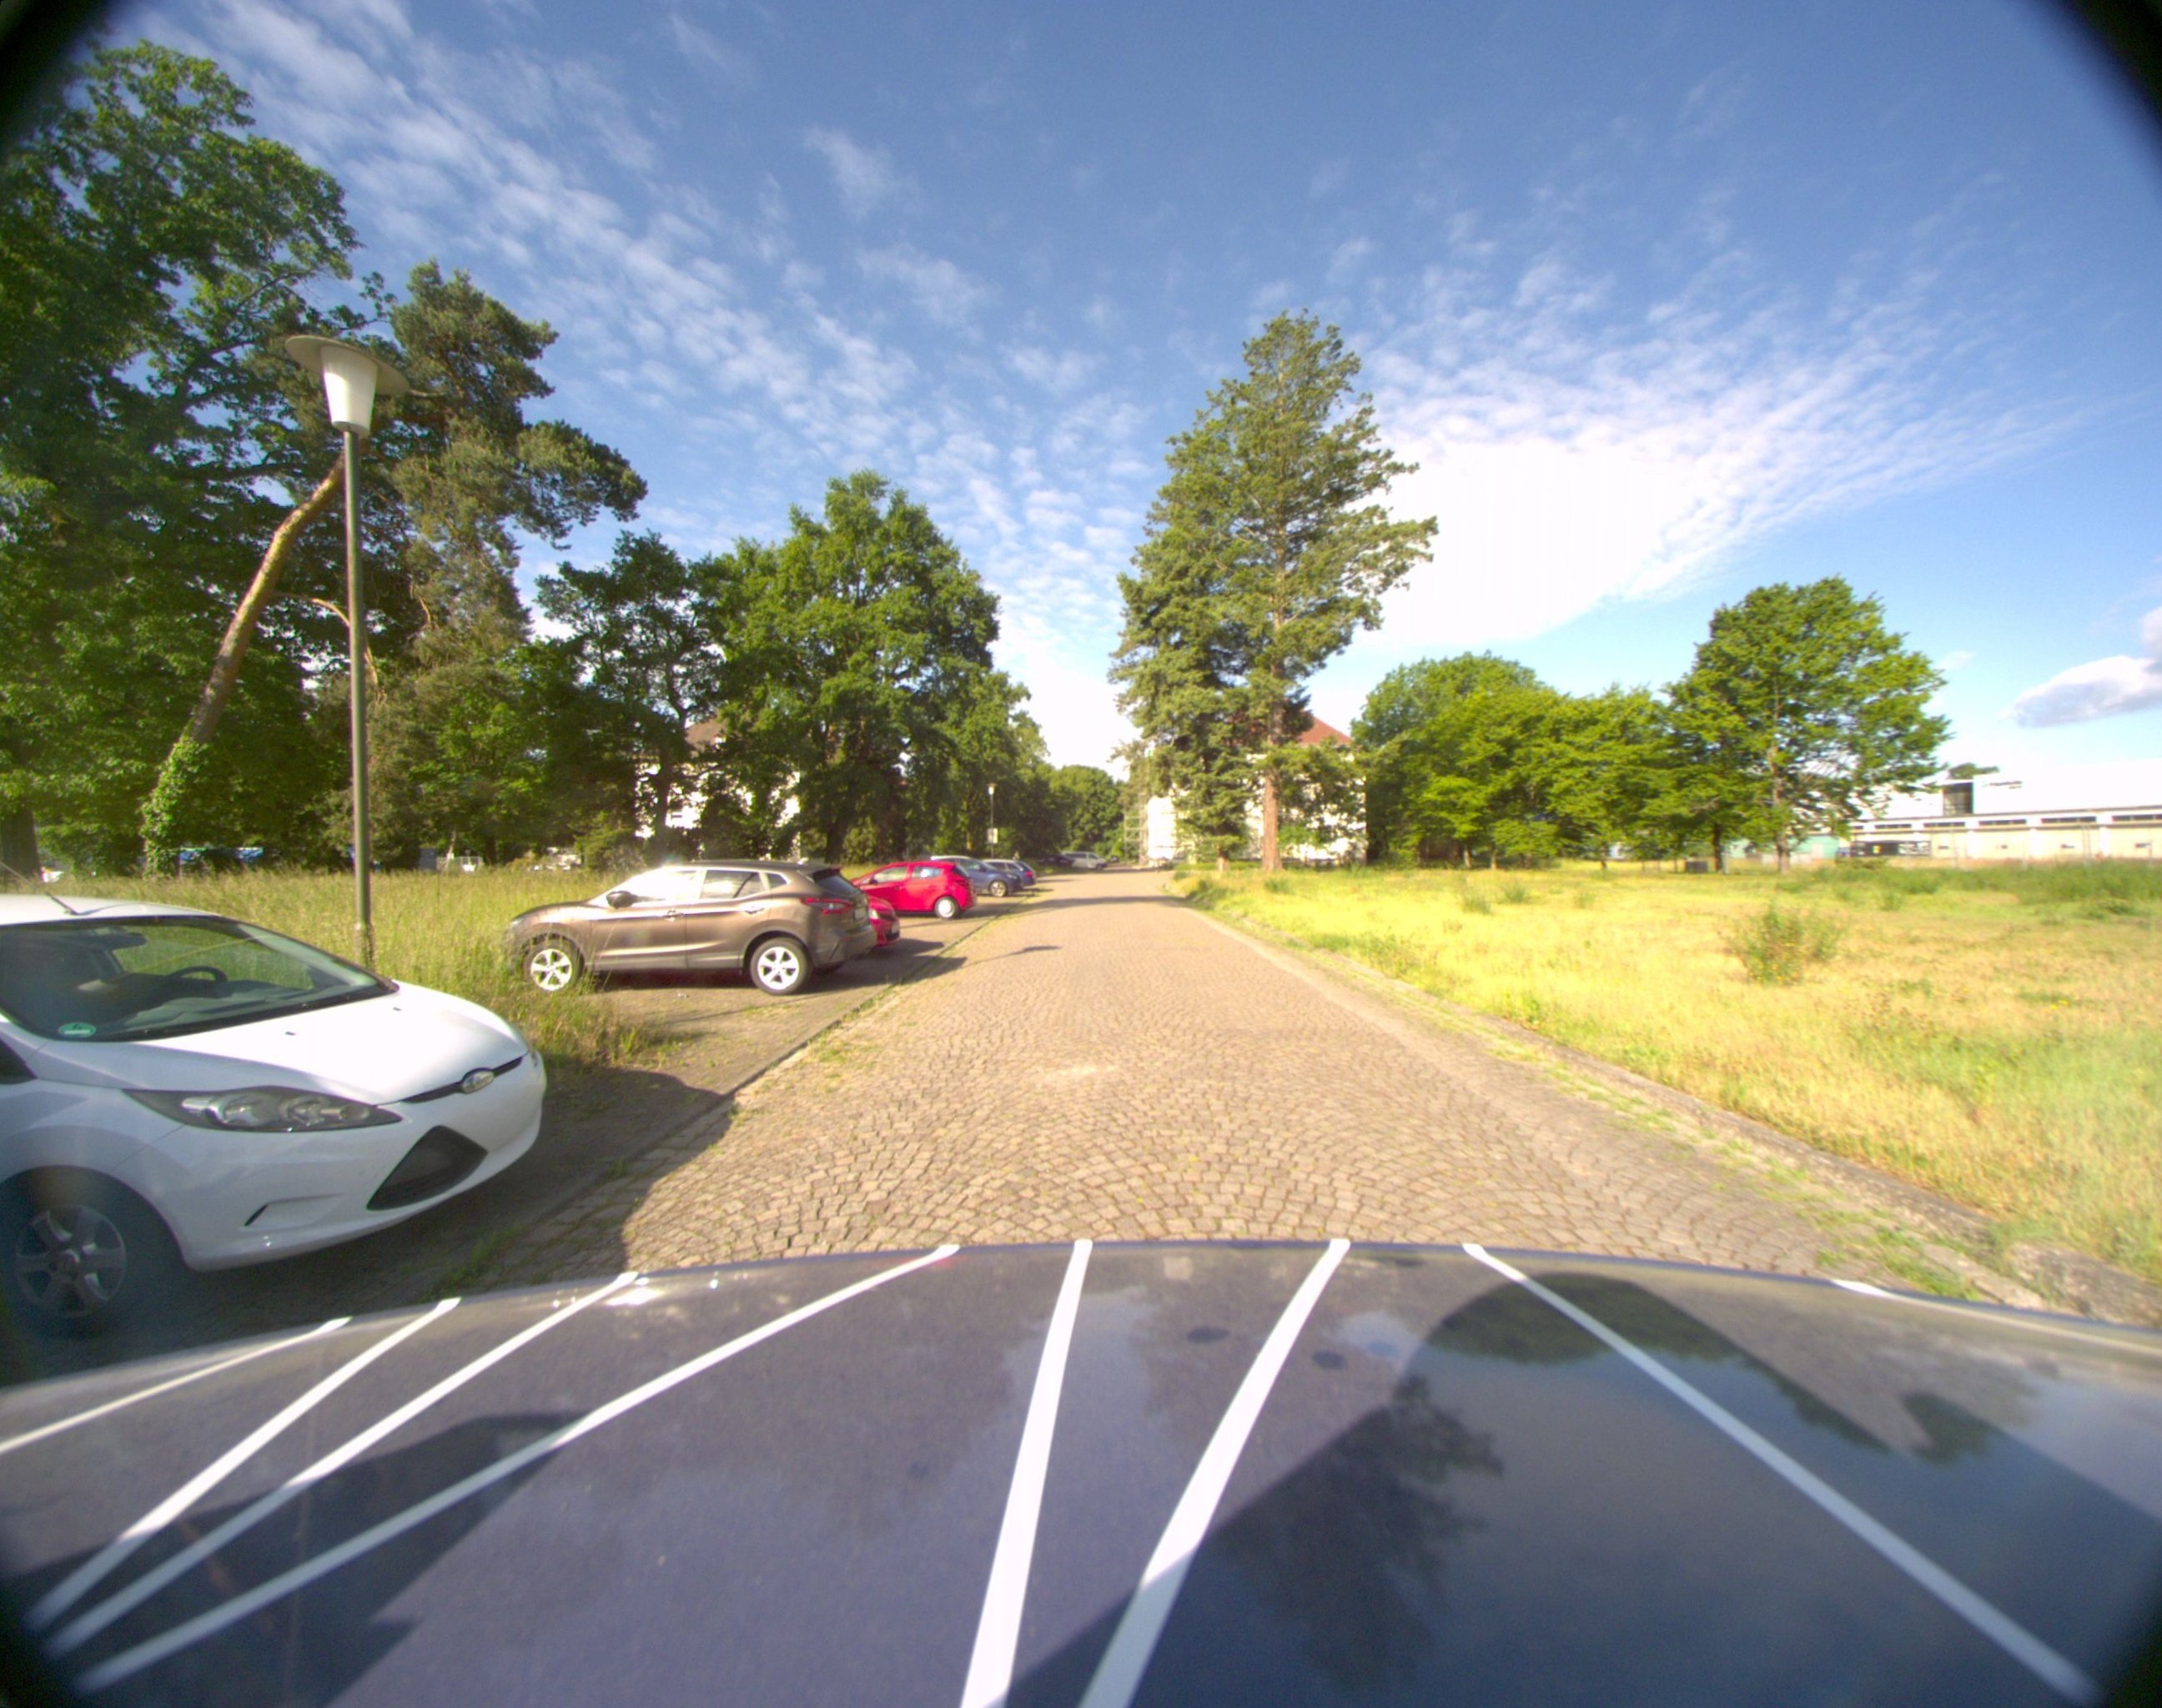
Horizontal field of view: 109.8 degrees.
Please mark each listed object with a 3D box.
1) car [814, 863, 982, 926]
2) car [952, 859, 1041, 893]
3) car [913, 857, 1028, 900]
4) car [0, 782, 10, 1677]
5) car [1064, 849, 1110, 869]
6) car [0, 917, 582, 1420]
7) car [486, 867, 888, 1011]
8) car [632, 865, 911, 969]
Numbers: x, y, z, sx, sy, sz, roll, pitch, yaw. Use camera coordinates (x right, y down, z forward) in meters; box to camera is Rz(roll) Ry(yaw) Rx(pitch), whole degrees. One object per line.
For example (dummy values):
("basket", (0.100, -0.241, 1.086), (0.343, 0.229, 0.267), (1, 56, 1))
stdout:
("car", (-4.699, 1.027, 19.883), (3.997, 1.486, 1.540), (-1, 0, 0))
("car", (-3.818, 0.980, 34.893), (3.809, 1.458, 1.747), (-1, 0, 2))
("car", (-4.322, 0.960, 30.144), (4.273, 1.589, 1.651), (1, 0, 0))
("car", (-4.807, 0.788, 0.748), (4.765, 2.002, 2.000), (1, 0, 1))
("car", (0.610, 0.491, 83.697), (4.993, 2.123, 2.164), (-1, 0, -1))
("car", (-4.522, 1.076, 3.218), (3.730, 1.458, 1.609), (1, 0, -1))
("car", (-4.732, 0.990, 9.586), (4.117, 1.601, 1.786), (0, 0, -1))
("car", (-4.904, 0.971, 12.399), (3.834, 1.530, 1.703), (0, 0, 1))
